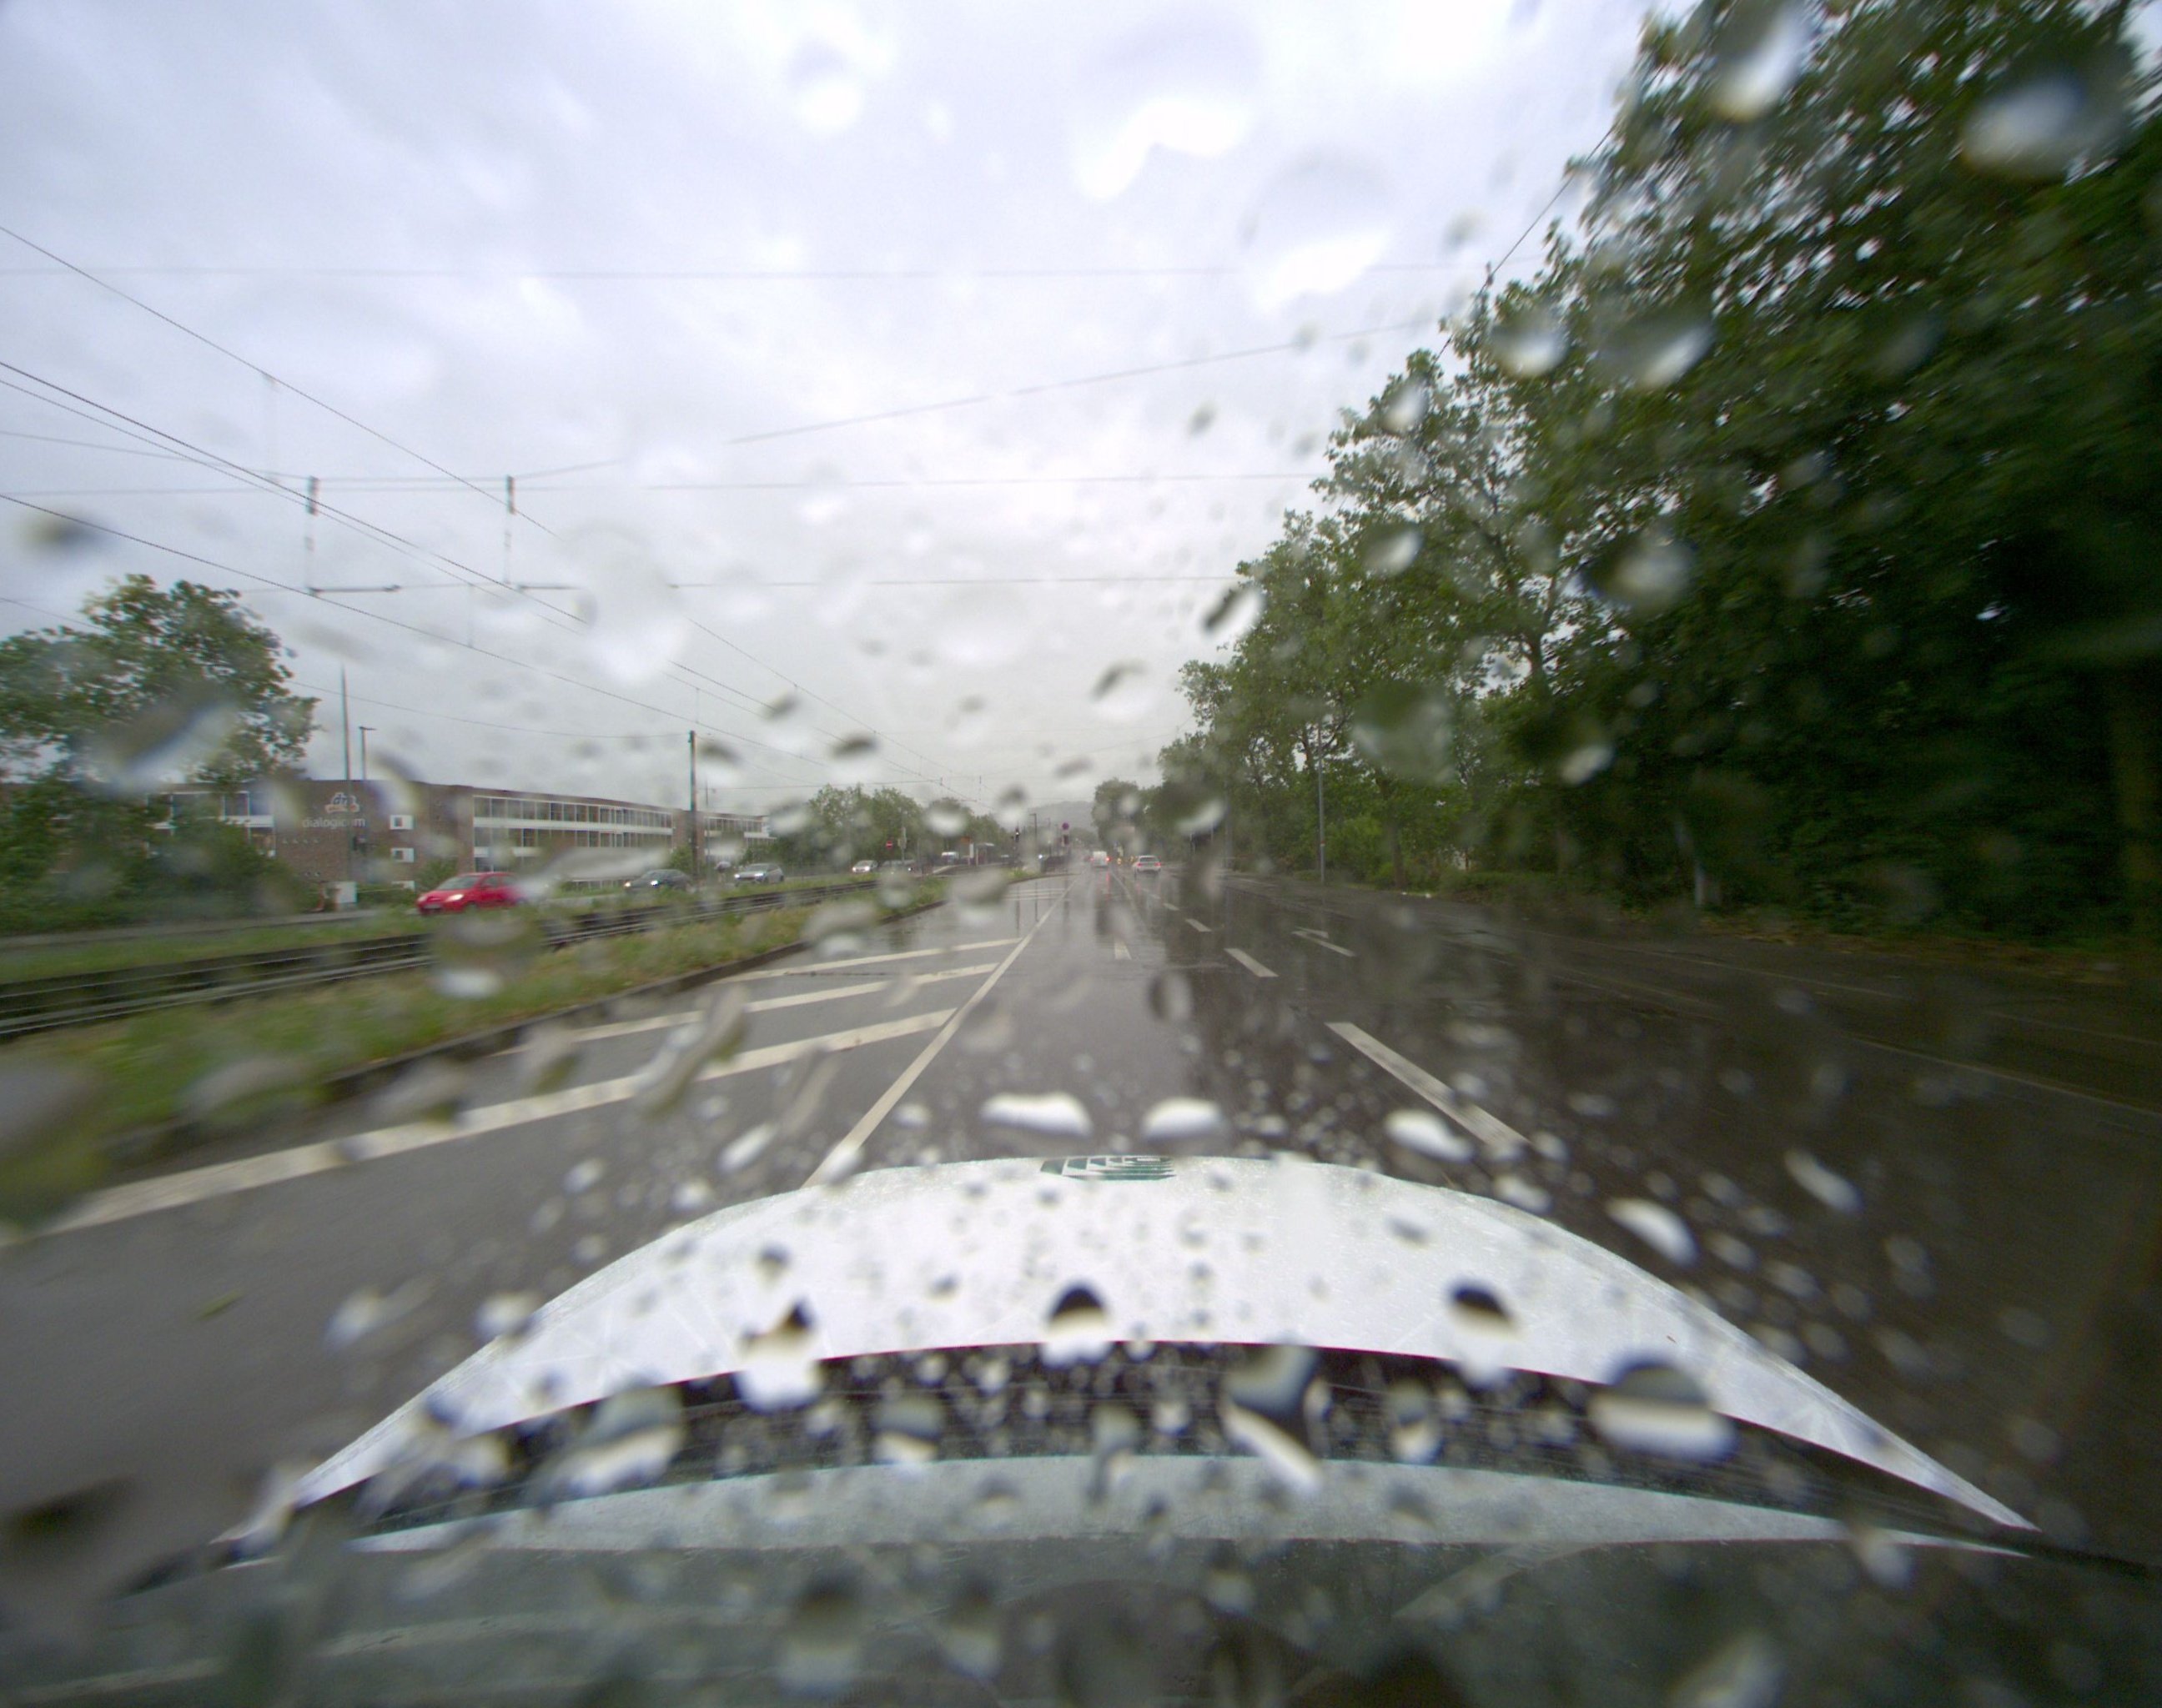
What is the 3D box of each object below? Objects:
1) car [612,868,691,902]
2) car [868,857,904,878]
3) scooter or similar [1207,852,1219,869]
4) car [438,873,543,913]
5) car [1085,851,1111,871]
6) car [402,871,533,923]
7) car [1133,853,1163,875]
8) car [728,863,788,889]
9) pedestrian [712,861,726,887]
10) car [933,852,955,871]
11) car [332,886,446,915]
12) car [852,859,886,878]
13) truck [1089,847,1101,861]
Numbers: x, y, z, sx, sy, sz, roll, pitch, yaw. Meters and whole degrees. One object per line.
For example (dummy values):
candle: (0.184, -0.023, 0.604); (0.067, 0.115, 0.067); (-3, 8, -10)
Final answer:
car: (-23.854, 1.679, 45.437); (1.987, 1.681, 4.538); (-1, 0, 0)
car: (-17.520, 1.193, 73.360); (1.986, 1.596, 4.382); (-5, 0, 1)
scooter or similar: (10.209, 0.522, 62.883); (0.756, 1.293, 1.648); (0, -1, 4)
car: (-30.283, 1.960, 41.854); (1.974, 1.860, 4.025); (0, 0, 39)
car: (1.632, 0.645, 78.816); (1.991, 1.849, 3.992); (-1, 0, -6)
car: (-20.559, 1.402, 27.472); (1.596, 1.590, 3.620); (0, -1, 1)
car: (4.604, 0.662, 56.823); (1.881, 1.431, 4.002); (-1, 0, 2)
car: (-20.147, 1.319, 50.945); (1.987, 1.486, 4.299); (-1, 0, 0)
pedestrian: (-28.302, 1.587, 63.664); (0.696, 2.013, 0.697); (-1, 0, 1)
car: (-19.631, 1.024, 117.118); (2.112, 2.712, 5.740); (0, 0, 1)
car: (-37.149, 2.471, 43.794); (4.348, 1.442, 1.999); (0, 0, -2)
car: (-19.952, 1.326, 76.655); (1.986, 1.596, 4.095); (-1, 0, 1)
truck: (3.728, -0.045, 219.286); (2.769, 3.704, 9.841); (0, -1, -3)
